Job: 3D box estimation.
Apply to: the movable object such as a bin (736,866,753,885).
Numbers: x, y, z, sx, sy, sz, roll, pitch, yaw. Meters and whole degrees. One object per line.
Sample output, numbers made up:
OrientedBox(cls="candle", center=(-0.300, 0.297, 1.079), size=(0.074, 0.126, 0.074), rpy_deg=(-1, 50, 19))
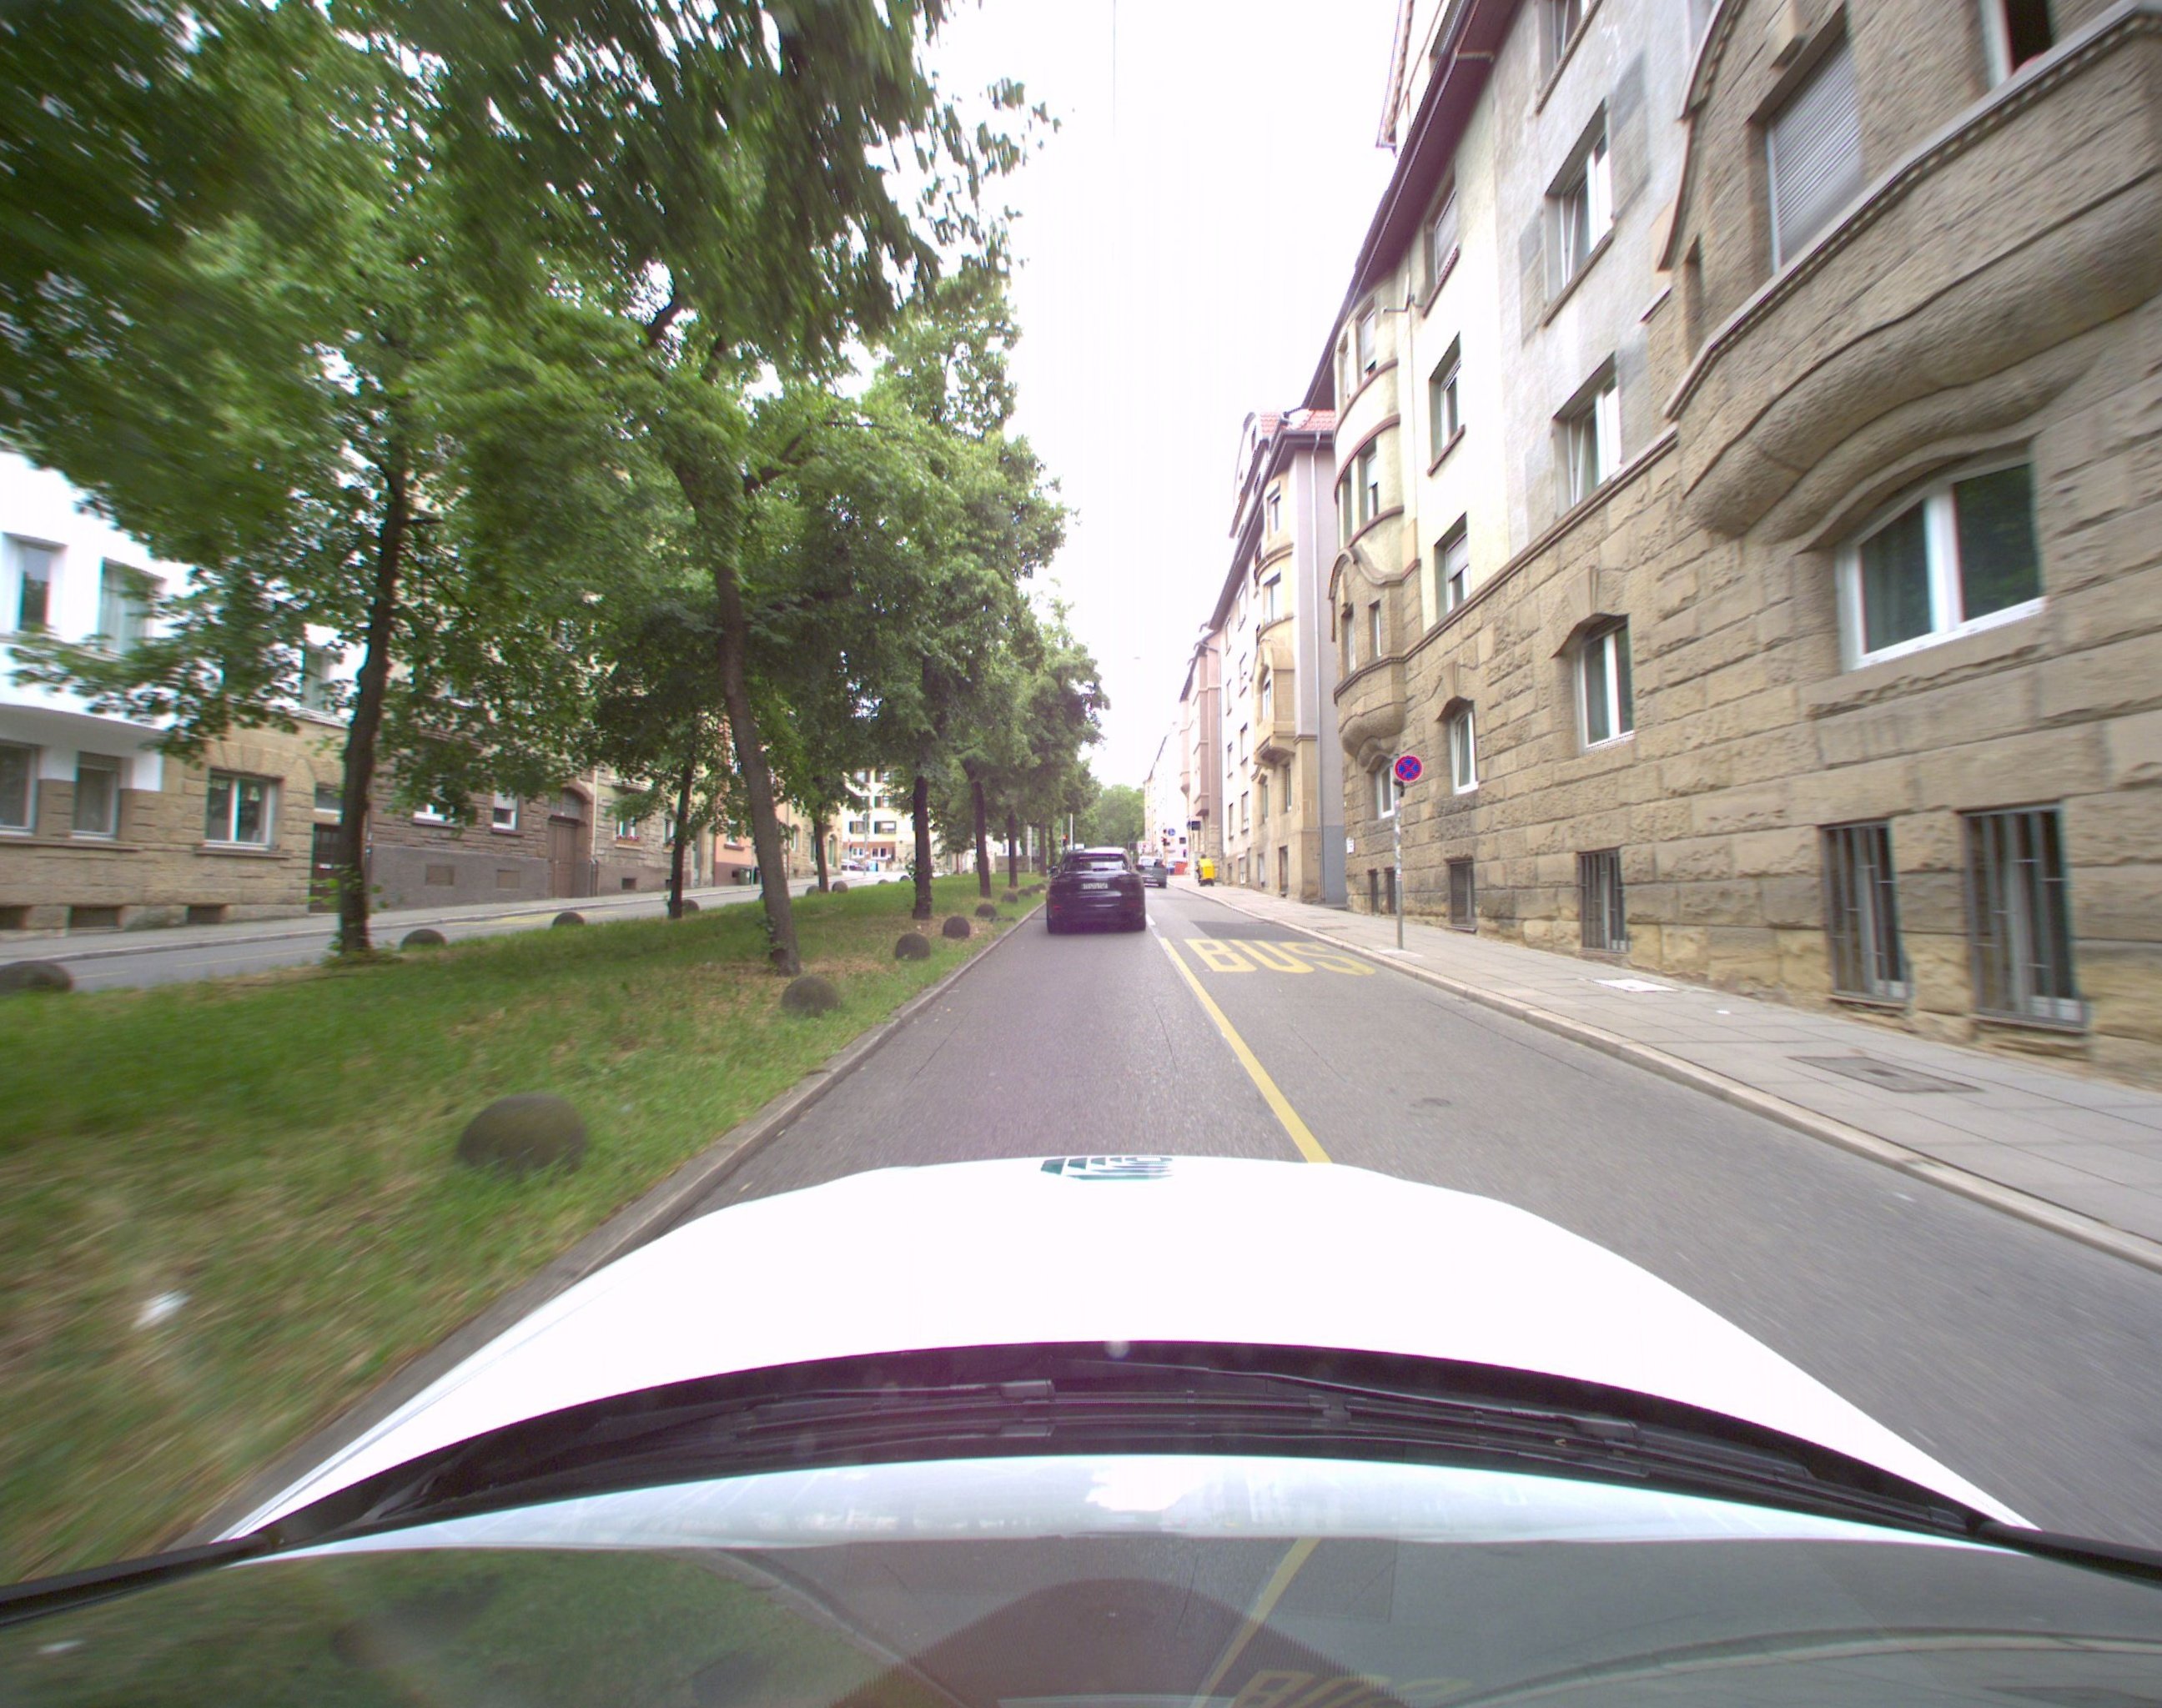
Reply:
OrientedBox(cls="movable object such as a bin", center=(-16.856, 1.070, 40.812), size=(0.607, 0.904, 0.601), rpy_deg=(1, -1, -3))

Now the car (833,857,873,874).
OrientedBox(cls="car", center=(-23.512, 1.192, 83.943), size=(3.948, 1.665, 1.894), rpy_deg=(-2, -3, 35))

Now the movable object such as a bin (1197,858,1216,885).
OrientedBox(cls="movable object such as a bin", center=(6.687, 0.930, 43.422), size=(0.717, 1.421, 1.693), rpy_deg=(-1, -2, 0))

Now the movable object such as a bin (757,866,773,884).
OrientedBox(cls="movable object such as a bin", center=(-16.698, 1.106, 43.075), size=(0.607, 0.904, 0.601), rpy_deg=(1, -1, -3))

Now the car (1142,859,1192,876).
OrientedBox(cls="car", center=(7.813, 1.212, 73.795), size=(4.172, 1.510, 1.808), rpy_deg=(0, 0, 17))

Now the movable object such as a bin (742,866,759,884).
OrientedBox(cls="movable object such as a bin", center=(-16.844, 1.082, 41.523), size=(0.607, 0.904, 0.601), rpy_deg=(1, -1, -3))

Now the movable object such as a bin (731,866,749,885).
OrientedBox(cls="movable object such as a bin", center=(-16.815, 1.063, 40.180), size=(0.607, 0.904, 0.601), rpy_deg=(1, -1, -3))

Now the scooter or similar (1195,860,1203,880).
OrientedBox(cls="scooter or similar", center=(7.416, 0.993, 51.071), size=(0.399, 1.188, 1.356), rpy_deg=(-2, 1, 6))

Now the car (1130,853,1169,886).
OrientedBox(cls="car", center=(3.626, 0.813, 43.497), size=(1.746, 1.593, 3.631), rpy_deg=(4, -1, 1))

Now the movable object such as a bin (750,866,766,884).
OrientedBox(cls="movable object such as a bin", center=(-16.805, 1.093, 42.344), size=(0.607, 0.904, 0.601), rpy_deg=(1, -1, -3))

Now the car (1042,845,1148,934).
OrientedBox(cls="car", center=(0.349, 0.671, 17.433), size=(1.986, 1.653, 4.002), rpy_deg=(-1, 0, 2))
